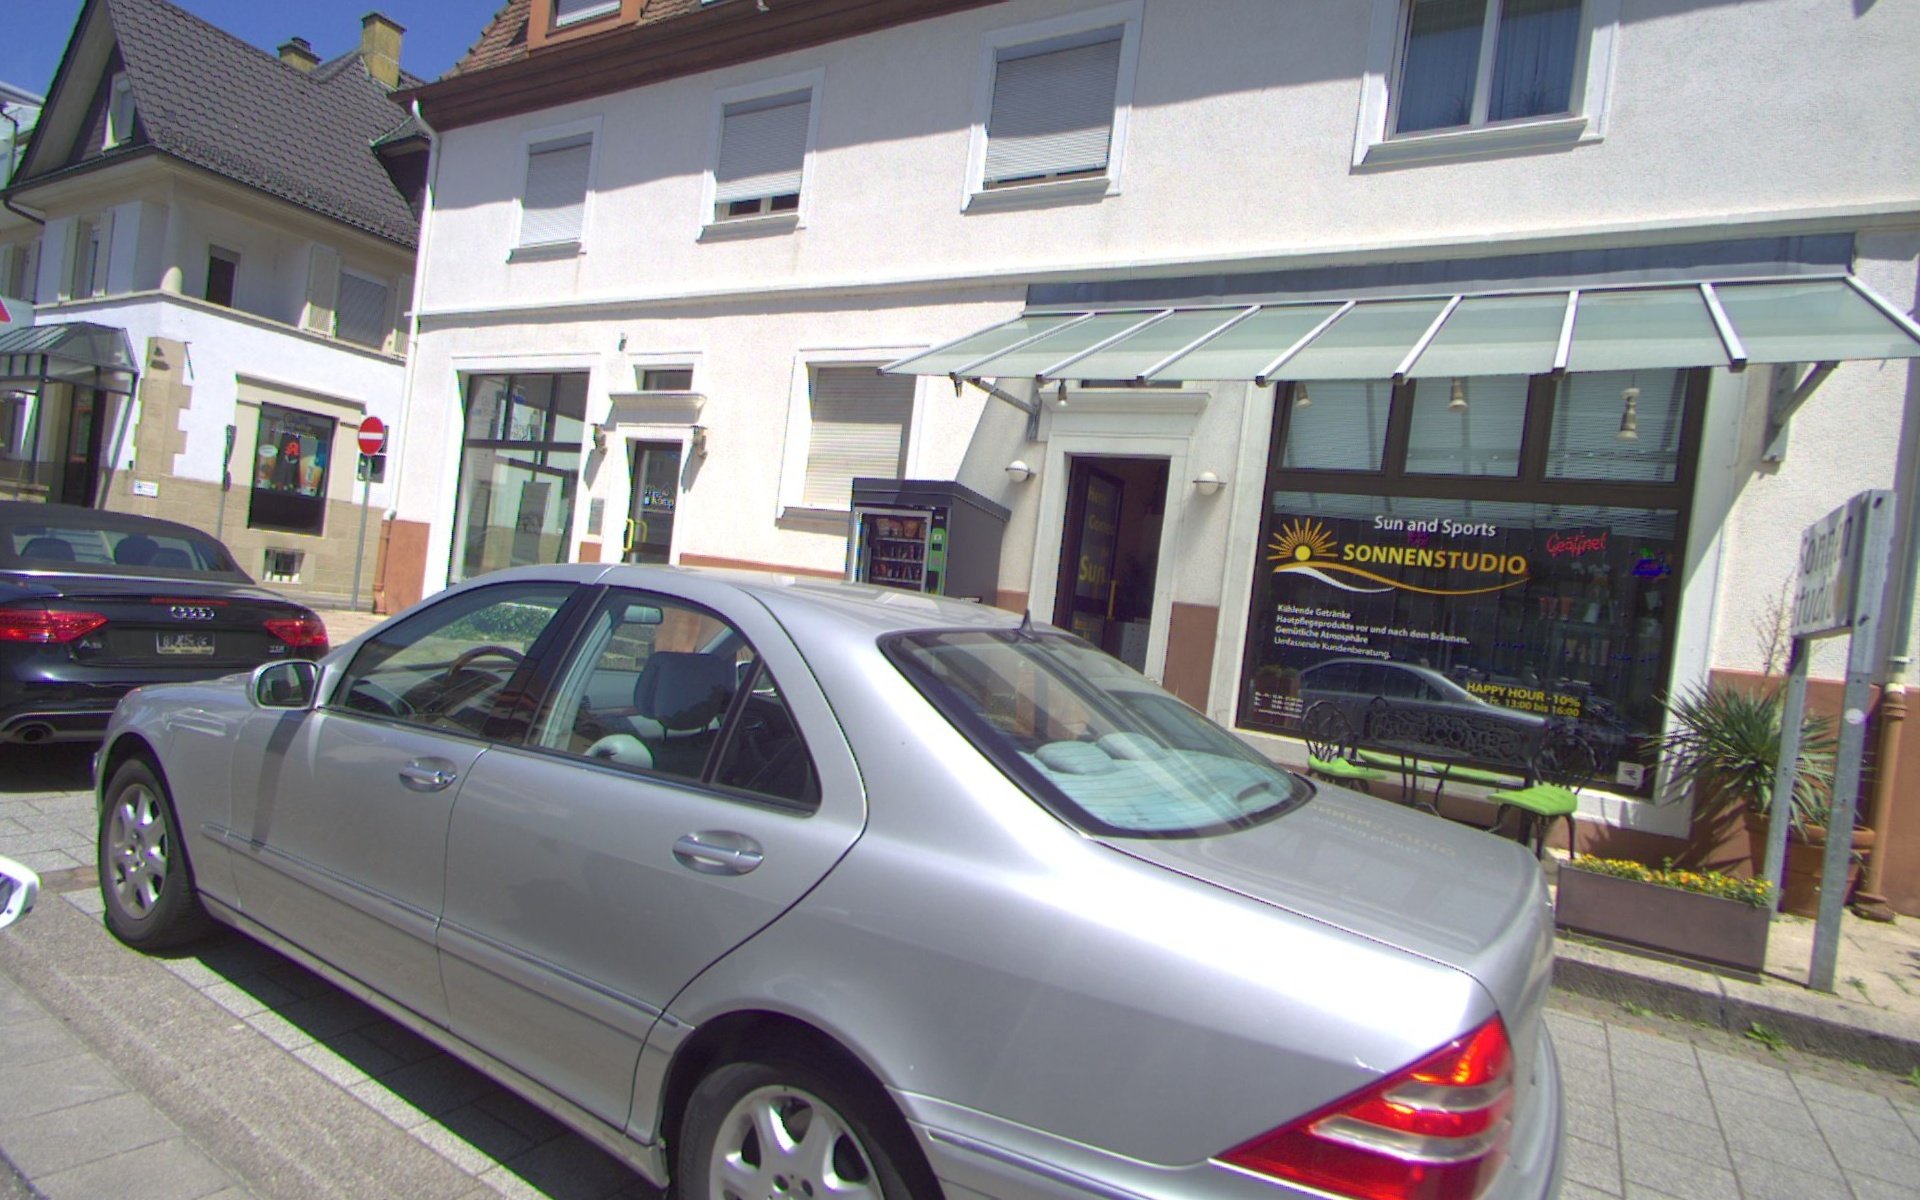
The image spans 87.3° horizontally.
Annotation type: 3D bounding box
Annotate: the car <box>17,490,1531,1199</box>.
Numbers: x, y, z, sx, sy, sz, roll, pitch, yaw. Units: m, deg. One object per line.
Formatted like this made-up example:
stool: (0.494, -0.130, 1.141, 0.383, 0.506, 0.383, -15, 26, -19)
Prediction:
car: (-1.010, 0.591, 3.228, 4.771, 1.488, 1.744, 7, 2, 32)

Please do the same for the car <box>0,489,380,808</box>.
car: (-5.921, 0.045, 6.412, 4.622, 1.445, 1.827, 7, 1, 32)
